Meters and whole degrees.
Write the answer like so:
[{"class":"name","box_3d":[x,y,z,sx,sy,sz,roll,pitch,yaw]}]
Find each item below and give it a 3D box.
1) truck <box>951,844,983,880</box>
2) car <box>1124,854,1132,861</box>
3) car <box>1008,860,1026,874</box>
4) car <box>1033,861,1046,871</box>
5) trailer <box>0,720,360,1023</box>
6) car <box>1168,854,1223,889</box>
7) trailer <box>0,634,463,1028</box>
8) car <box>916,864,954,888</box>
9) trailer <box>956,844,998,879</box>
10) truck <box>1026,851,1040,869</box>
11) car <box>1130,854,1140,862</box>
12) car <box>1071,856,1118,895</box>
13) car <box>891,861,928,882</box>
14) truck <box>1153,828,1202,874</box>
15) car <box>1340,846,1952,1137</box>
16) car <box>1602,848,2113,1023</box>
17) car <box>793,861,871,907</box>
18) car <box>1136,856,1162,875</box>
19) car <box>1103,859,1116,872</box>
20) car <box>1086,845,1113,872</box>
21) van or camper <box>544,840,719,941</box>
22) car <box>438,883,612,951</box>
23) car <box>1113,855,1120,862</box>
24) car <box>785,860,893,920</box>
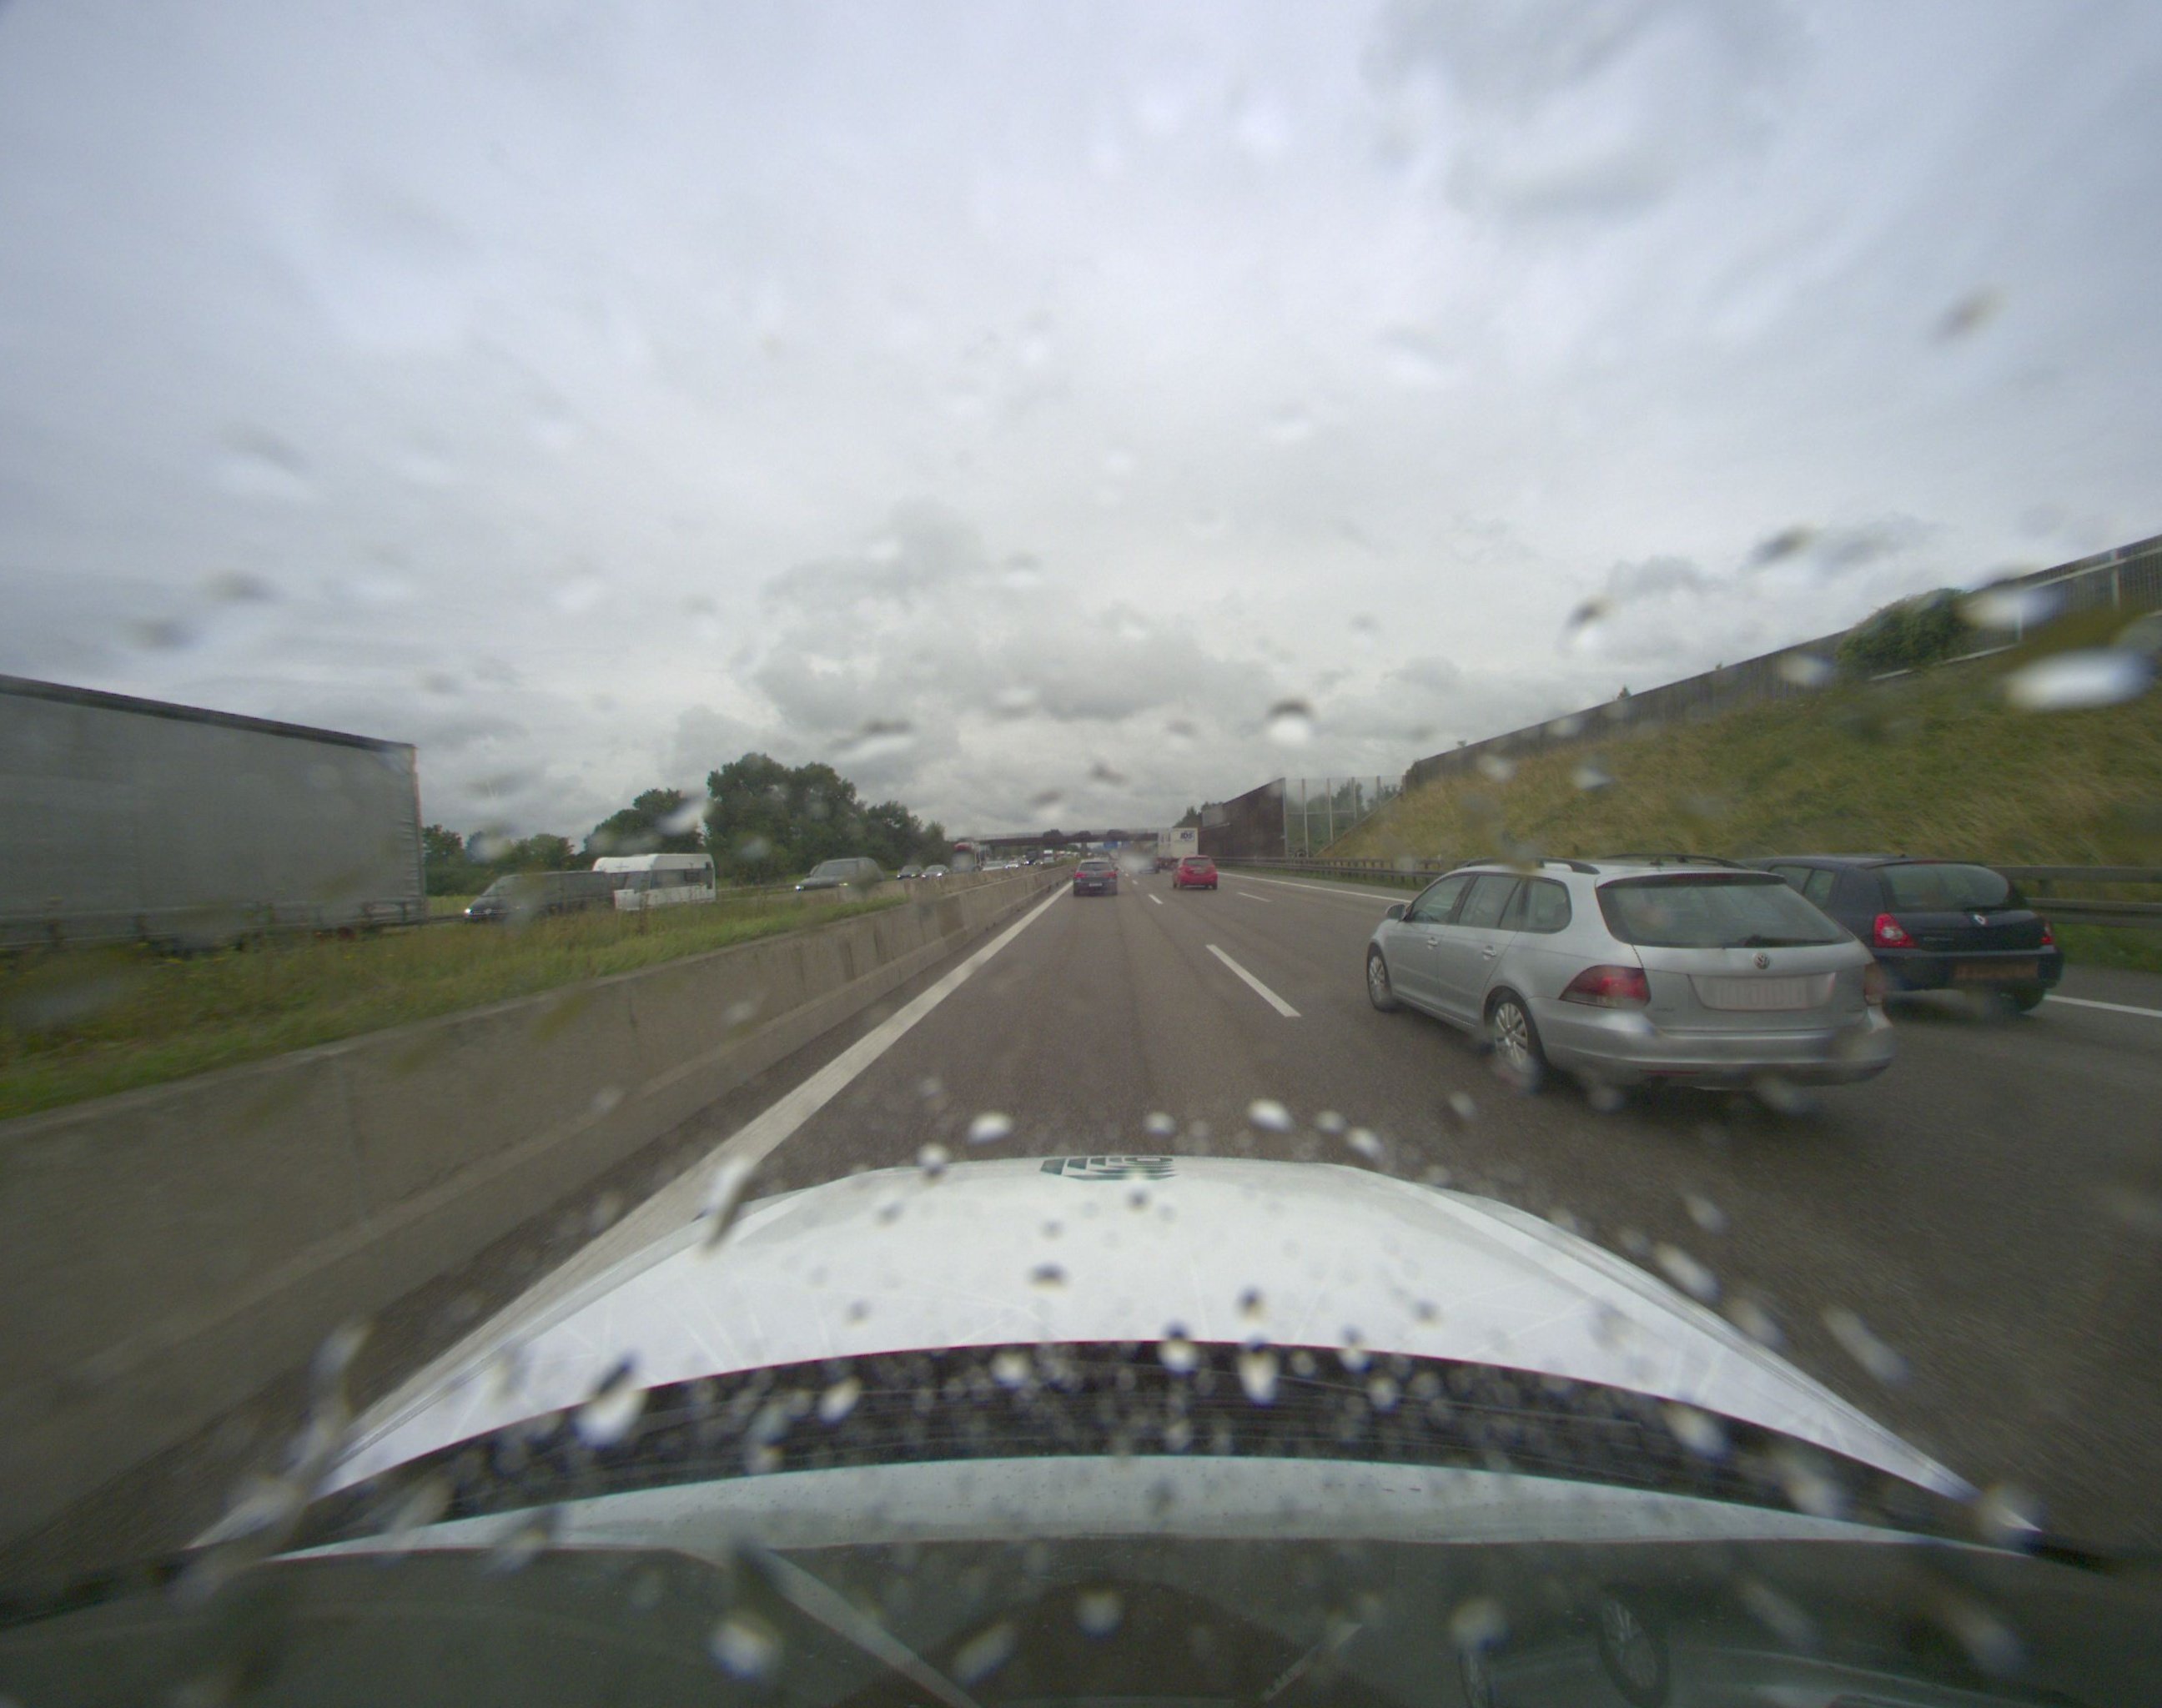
[{"class":"truck","box_3d":[-13.936,0.977,100.247,2.946,4.242,6.236,0,-1,1]},{"class":"car","box_3d":[13.048,1.028,224.970,1.986,1.812,4.229,-3,0,2]},{"class":"car","box_3d":[-9.029,1.806,115.306,1.986,1.879,5.034,0,-1,2]},{"class":"car","box_3d":[-8.067,2.350,159.015,2.085,1.710,4.803,-1,0,3]},{"class":"trailer","box_3d":[-17.138,0.234,9.156,3.699,4.271,15.630,0,-1,2]},{"class":"car","box_3d":[5.123,0.761,36.946,1.884,1.446,4.685,-1,0,1]},{"class":"trailer","box_3d":[-12.748,-0.231,8.350,3.074,4.089,12.334,0,-1,2]},{"class":"car","box_3d":[-11.512,1.677,64.521,2.054,1.710,4.801,-1,0,1]},{"class":"trailer","box_3d":[-13.654,1.033,108.354,2.987,4.242,15.714,0,-1,2]},{"class":"truck","box_3d":[-10.967,1.334,186.145,2.747,4.050,6.257,0,-1,2]},{"class":"car","box_3d":[11.189,0.859,167.666,1.839,1.687,4.000,0,-1,1]},{"class":"car","box_3d":[0.541,0.850,32.796,1.762,1.467,4.001,0,-1,1]},{"class":"car","box_3d":[-15.224,1.517,72.521,2.085,1.710,4.803,-1,0,3]},{"class":"truck","box_3d":[9.874,-0.193,85.809,3.271,4.295,19.037,0,-1,1]},{"class":"car","box_3d":[3.600,0.712,6.415,1.735,1.425,4.518,-2,0,1]},{"class":"car","box_3d":[7.499,0.678,8.512,1.696,1.401,3.876,0,-1,1]},{"class":"car","box_3d":[-11.615,1.325,38.450,1.876,1.924,5.279,-3,0,1]},{"class":"car","box_3d":[5.796,0.935,69.380,1.914,1.522,4.624,-1,0,1]},{"class":"car","box_3d":[4.210,1.626,119.529,1.699,1.796,3.854,-3,0,0]},{"class":"car","box_3d":[1.395,0.302,60.403,1.819,1.850,4.001,-3,0,1]},{"class":"van or camper","box_3d":[-17.437,1.312,32.318,2.700,3.503,7.697,0,-1,0]},{"class":"car","box_3d":[-17.227,1.886,25.640,2.086,1.753,5.130,0,0,-2]},{"class":"car","box_3d":[10.572,1.397,241.794,1.986,2.014,4.243,0,-1,2]},{"class":"car","box_3d":[-8.156,1.142,27.992,1.986,1.764,5.073,-3,0,1]}]
